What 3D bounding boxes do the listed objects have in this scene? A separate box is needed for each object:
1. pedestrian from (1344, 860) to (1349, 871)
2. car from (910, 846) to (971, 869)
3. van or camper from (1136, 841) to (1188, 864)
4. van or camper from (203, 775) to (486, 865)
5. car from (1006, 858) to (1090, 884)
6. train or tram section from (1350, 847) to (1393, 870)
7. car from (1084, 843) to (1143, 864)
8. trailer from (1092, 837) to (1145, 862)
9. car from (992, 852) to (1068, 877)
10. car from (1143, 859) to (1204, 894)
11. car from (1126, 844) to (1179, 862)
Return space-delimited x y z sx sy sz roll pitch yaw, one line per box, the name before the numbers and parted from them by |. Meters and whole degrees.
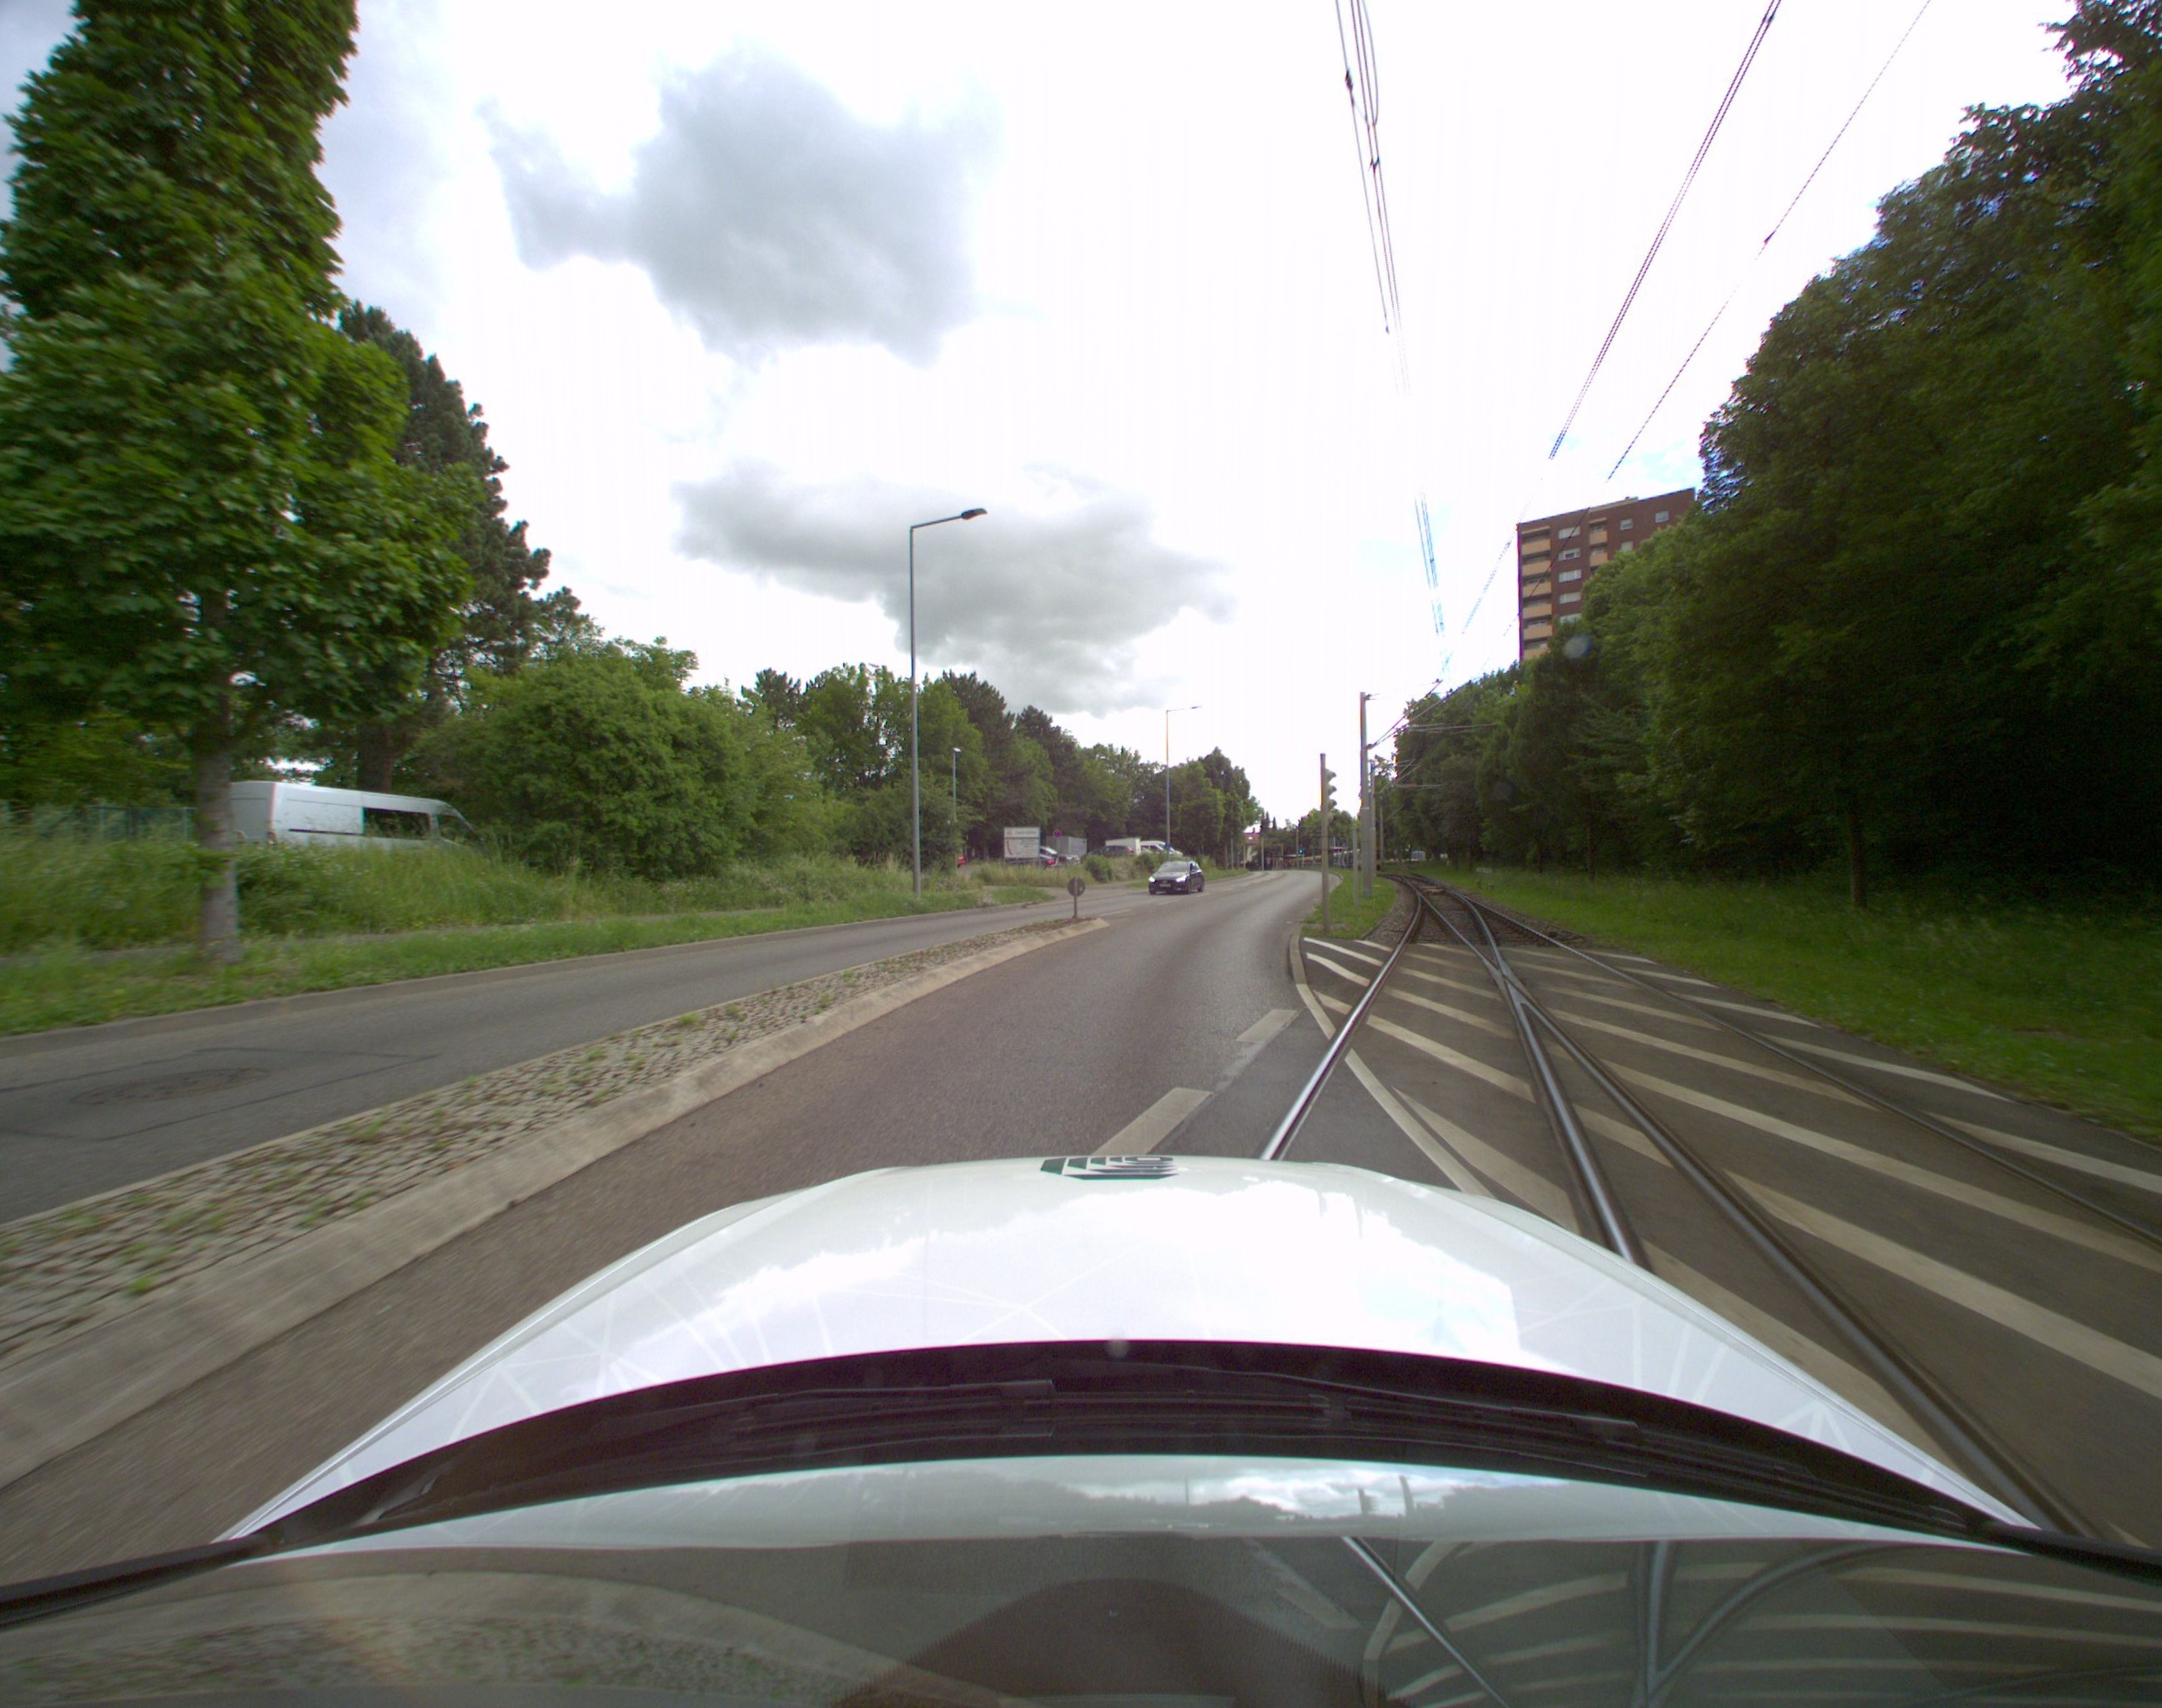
pedestrian | 35.719 1.559 109.393 0.563 1.464 0.597 0 -1 12
car | -10.404 0.300 60.477 3.960 1.662 2.006 0 -1 12
van or camper | 8.018 -0.169 80.383 4.854 2.203 2.009 0 0 16
van or camper | -17.339 -0.701 19.543 1.977 1.877 4.652 0 0 18
car | -2.070 1.089 51.813 4.889 1.585 2.216 0 -1 15
train or tram section | 46.417 0.728 131.468 2.986 3.311 34.838 0 0 14
car | 2.532 -0.013 63.702 4.282 1.449 1.842 -2 -1 13
trailer | 3.103 -0.333 66.726 3.954 2.013 1.917 0 0 19
car | -2.906 0.602 46.862 3.926 1.397 2.008 0 0 14
car | 4.226 0.981 36.616 1.978 1.438 4.444 0 0 16
car | 6.828 -0.057 78.080 4.601 1.656 2.011 -1 -1 24
